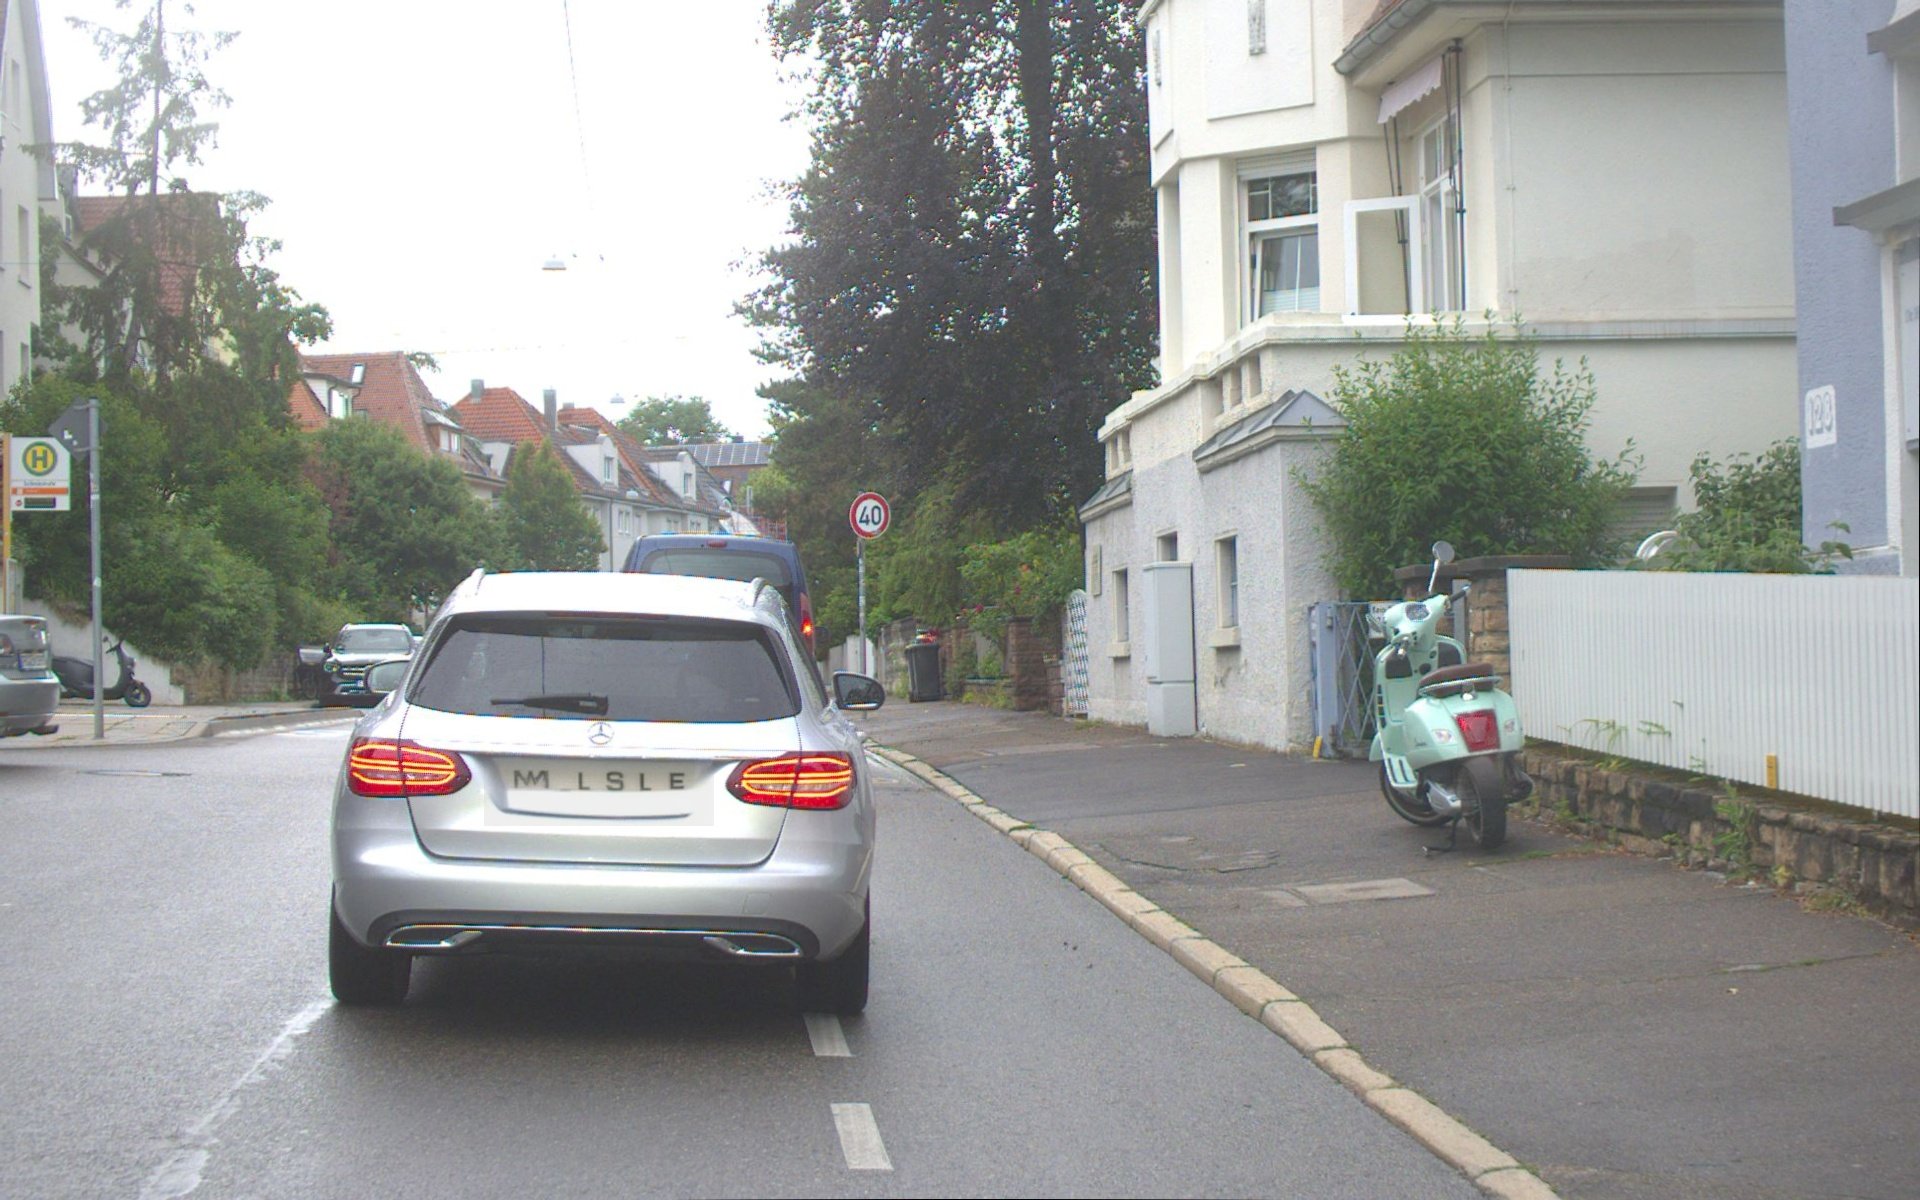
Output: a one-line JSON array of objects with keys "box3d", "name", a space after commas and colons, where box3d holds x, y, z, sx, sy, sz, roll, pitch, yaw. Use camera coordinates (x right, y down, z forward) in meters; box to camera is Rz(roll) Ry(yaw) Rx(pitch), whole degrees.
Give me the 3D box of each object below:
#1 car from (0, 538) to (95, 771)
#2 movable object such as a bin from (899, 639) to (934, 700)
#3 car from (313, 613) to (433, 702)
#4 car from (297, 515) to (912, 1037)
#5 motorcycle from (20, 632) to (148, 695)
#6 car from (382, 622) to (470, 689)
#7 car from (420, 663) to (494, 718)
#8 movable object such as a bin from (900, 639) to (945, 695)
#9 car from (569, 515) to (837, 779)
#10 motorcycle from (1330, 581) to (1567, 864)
[{"box3d": [-8.488, 0.254, 23.933, 4.366, 1.551, 1.822, 3, 0, 3], "name": "car"}, {"box3d": [-0.694, 1.097, 54.615, 0.494, 0.952, 0.503, 0, 0, -7], "name": "movable object such as a bin"}, {"box3d": [-11.014, 1.095, 64.736, 1.893, 1.617, 4.379, 0, -1, -5], "name": "car"}, {"box3d": [-1.221, 0.526, 12.320, 1.816, 1.551, 4.001, 1, 0, -5], "name": "car"}, {"box3d": [-13.410, 0.976, 52.632, 1.794, 0.900, 0.603, 2, -2, -5], "name": "motorcycle"}, {"box3d": [-12.355, 1.266, 79.664, 1.755, 1.442, 4.417, 0, 0, -5], "name": "car"}, {"box3d": [-13.278, 2.393, 90.900, 1.694, 1.442, 3.814, 0, -2, -4], "name": "car"}, {"box3d": [-0.585, 1.052, 54.079, 0.650, 0.853, 0.503, 0, 0, -7], "name": "movable object such as a bin"}, {"box3d": [-1.938, 0.413, 26.951, 1.843, 1.897, 4.000, 1, -2, -1], "name": "car"}, {"box3d": [2.347, 0.555, 16.784, 0.693, 1.222, 2.153, -7, 0, -1], "name": "motorcycle"}]
